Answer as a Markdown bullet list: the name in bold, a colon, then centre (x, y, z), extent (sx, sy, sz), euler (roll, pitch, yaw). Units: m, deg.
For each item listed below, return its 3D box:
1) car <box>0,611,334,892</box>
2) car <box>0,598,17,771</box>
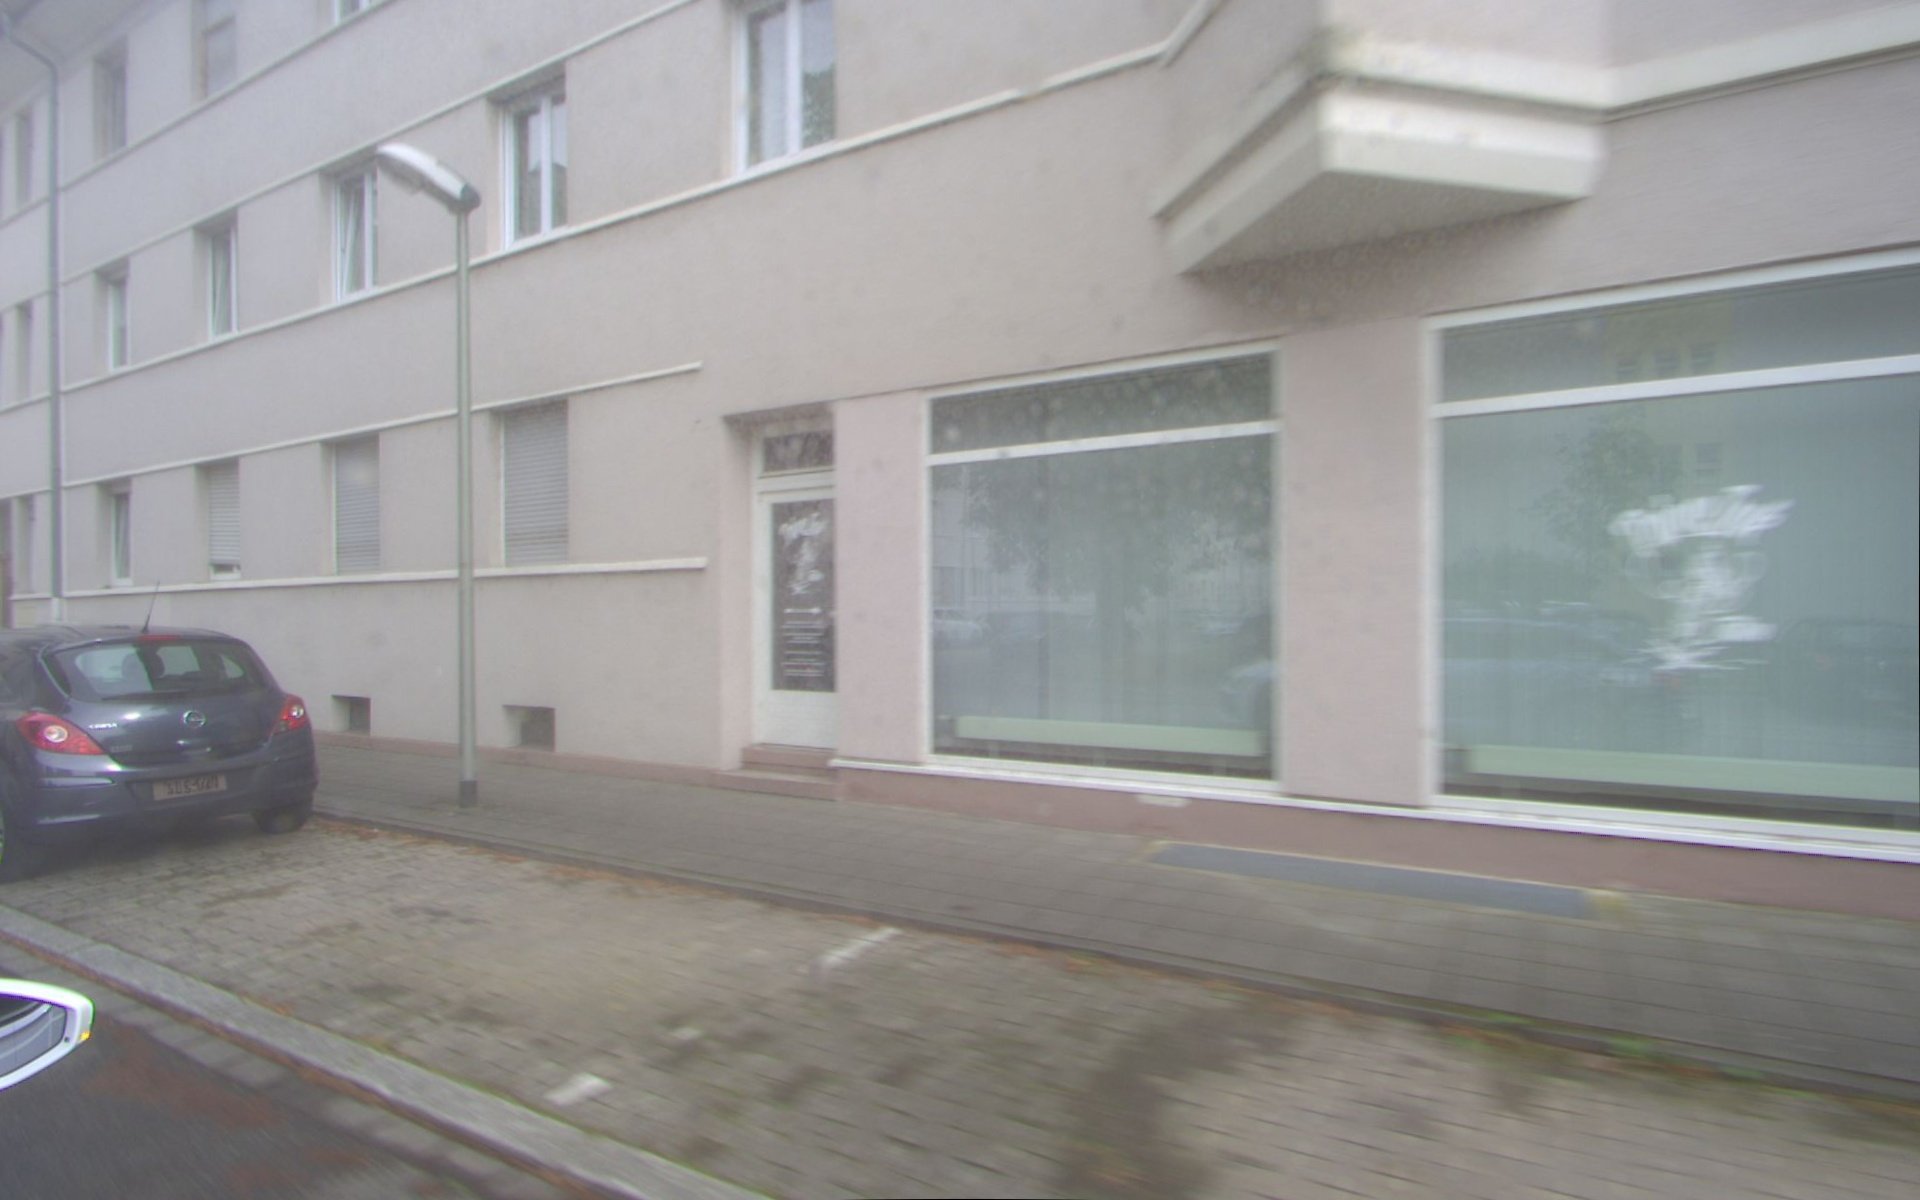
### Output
- **car**: centre (-6.387, 0.876, 7.134), extent (3.880, 1.508, 1.754), euler (-1, -2, 32)
- **car**: centre (-11.312, 0.839, 10.116), extent (4.143, 1.648, 1.753), euler (-1, -2, 34)
